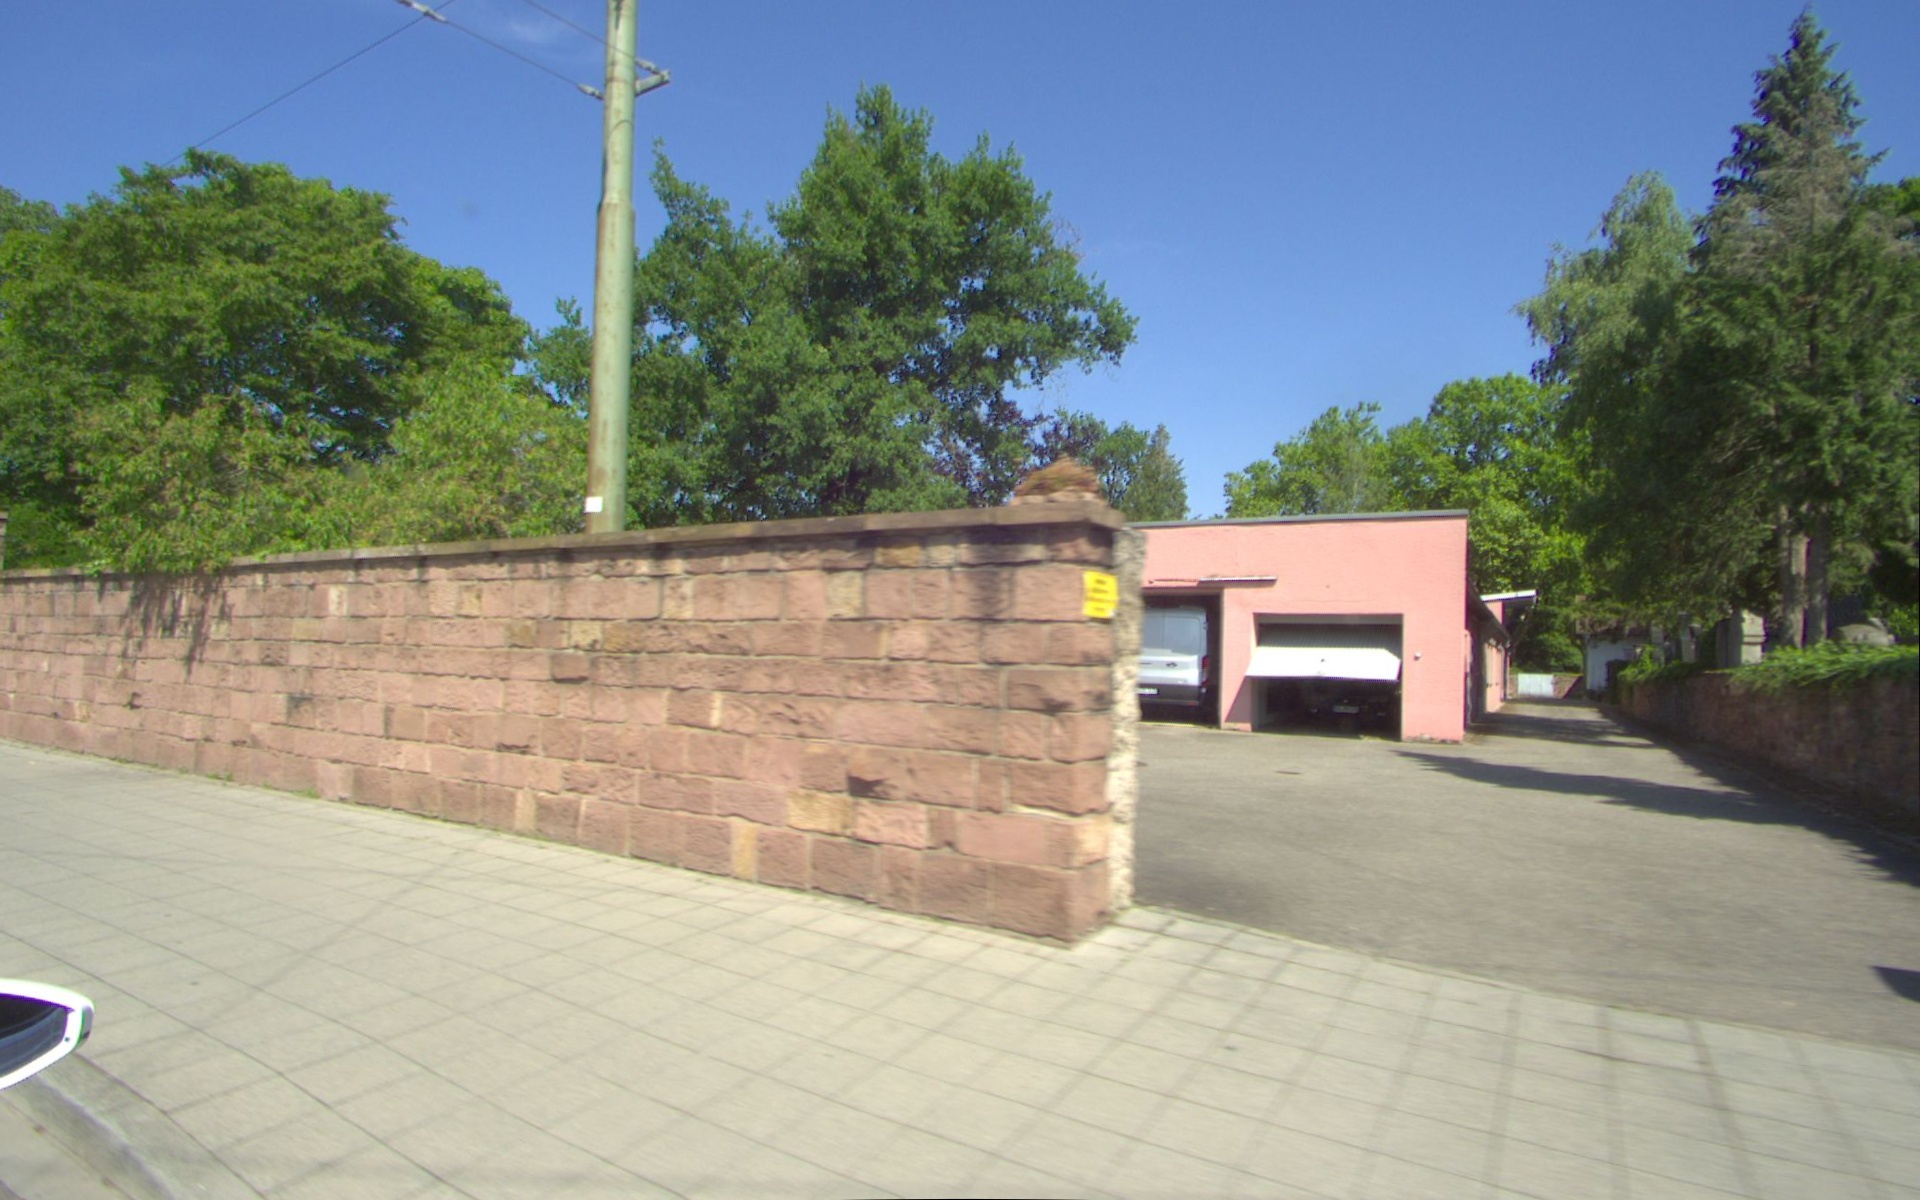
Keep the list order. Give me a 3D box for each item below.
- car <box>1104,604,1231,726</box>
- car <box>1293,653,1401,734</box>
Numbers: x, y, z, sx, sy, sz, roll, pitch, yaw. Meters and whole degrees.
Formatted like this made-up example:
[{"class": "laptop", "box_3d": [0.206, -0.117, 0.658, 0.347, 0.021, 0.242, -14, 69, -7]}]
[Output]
[{"class": "car", "box_3d": [4.839, 1.474, 22.933, 1.967, 2.485, 3.991, 1, -3, 25]}, {"class": "car", "box_3d": [8.582, 2.015, 21.981, 1.967, 1.549, 3.992, 0, -4, 25]}]
